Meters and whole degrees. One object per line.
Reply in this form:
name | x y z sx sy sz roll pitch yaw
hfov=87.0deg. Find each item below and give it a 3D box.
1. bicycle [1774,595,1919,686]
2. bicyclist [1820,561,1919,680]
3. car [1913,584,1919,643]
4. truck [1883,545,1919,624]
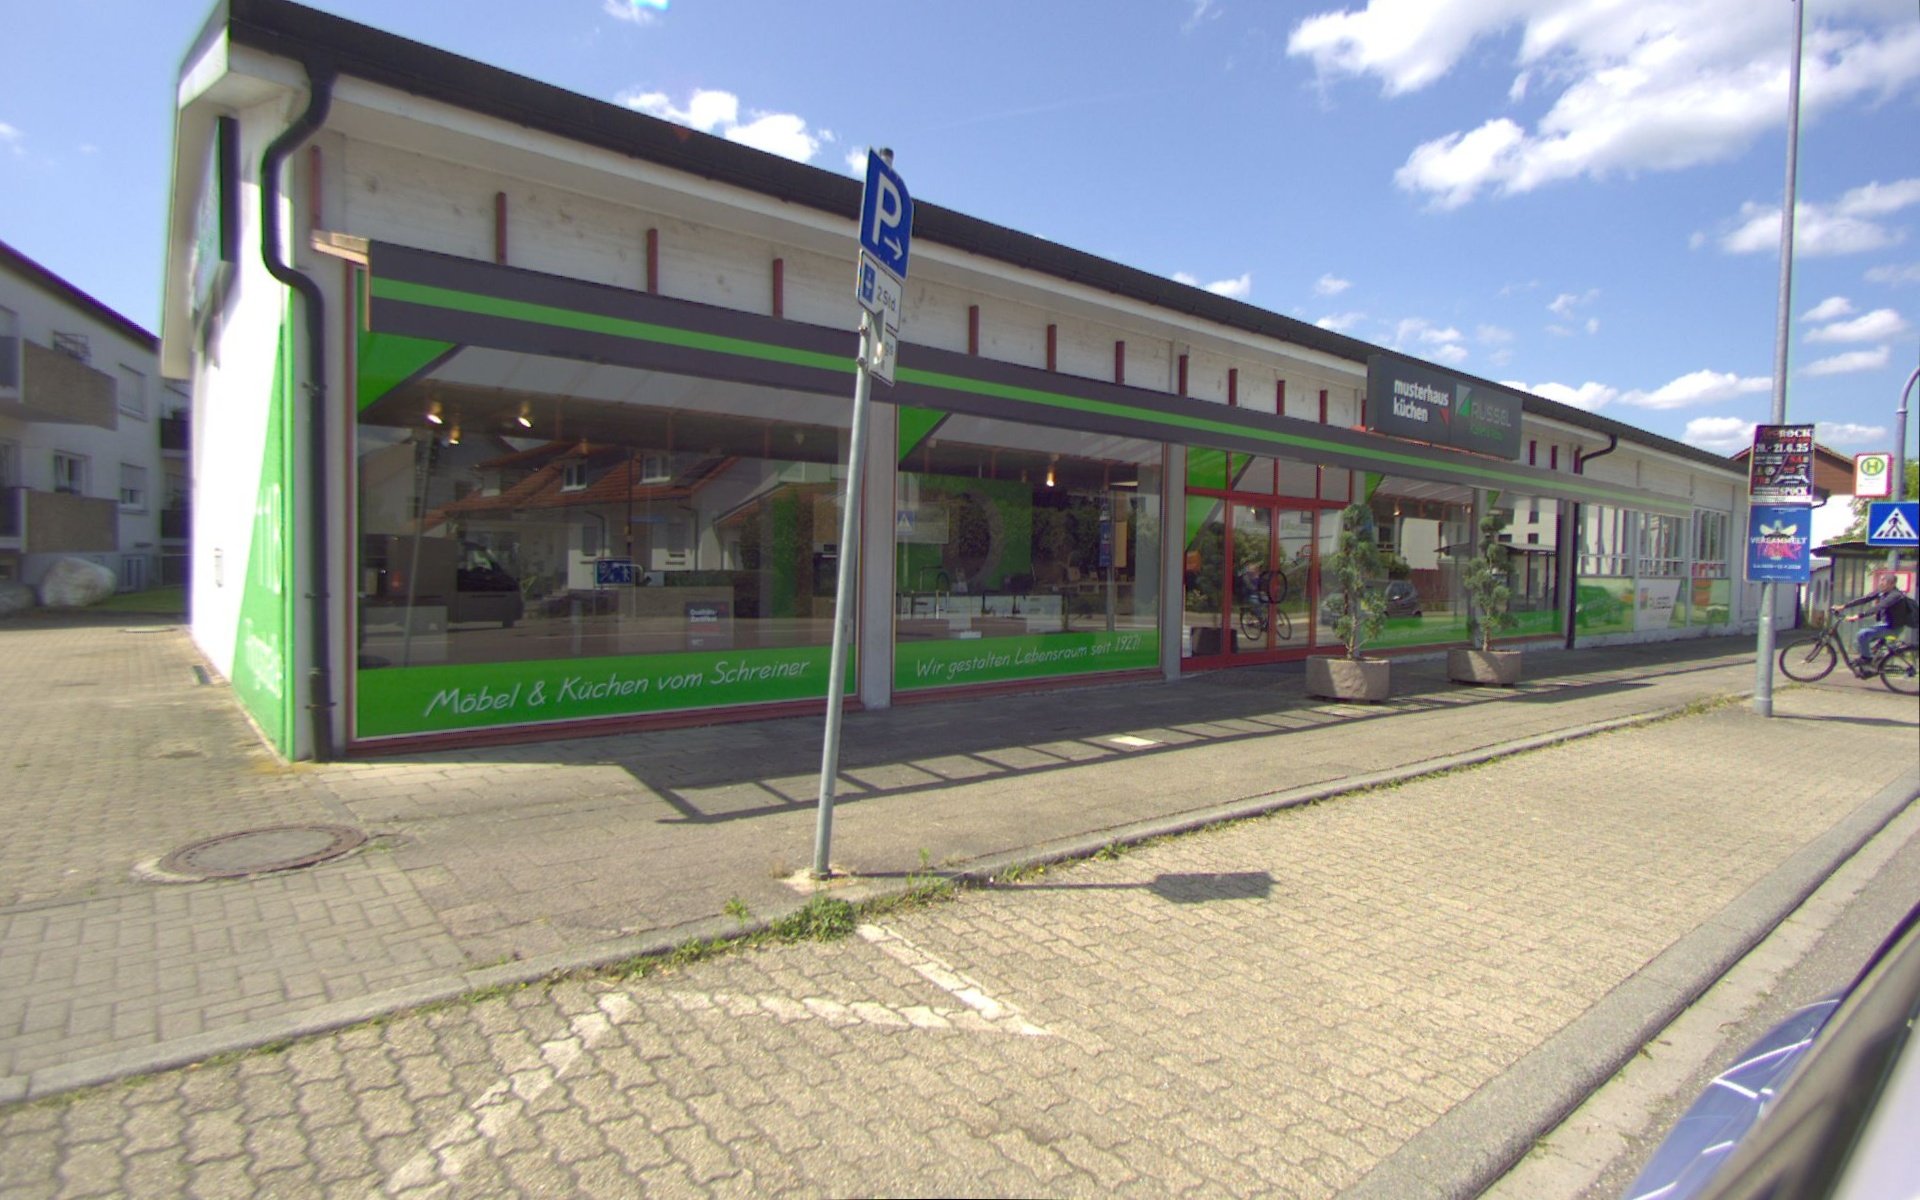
bicycle | 13.253 0.578 14.769 1.918 1.179 0.801 3 3 19
bicyclist | 13.416 0.275 14.689 1.097 1.649 0.801 3 2 19
car | 26.602 0.387 26.670 3.694 1.510 1.729 0 4 -41
truck | 36.521 -0.553 37.923 2.574 2.795 6.235 5 4 44
